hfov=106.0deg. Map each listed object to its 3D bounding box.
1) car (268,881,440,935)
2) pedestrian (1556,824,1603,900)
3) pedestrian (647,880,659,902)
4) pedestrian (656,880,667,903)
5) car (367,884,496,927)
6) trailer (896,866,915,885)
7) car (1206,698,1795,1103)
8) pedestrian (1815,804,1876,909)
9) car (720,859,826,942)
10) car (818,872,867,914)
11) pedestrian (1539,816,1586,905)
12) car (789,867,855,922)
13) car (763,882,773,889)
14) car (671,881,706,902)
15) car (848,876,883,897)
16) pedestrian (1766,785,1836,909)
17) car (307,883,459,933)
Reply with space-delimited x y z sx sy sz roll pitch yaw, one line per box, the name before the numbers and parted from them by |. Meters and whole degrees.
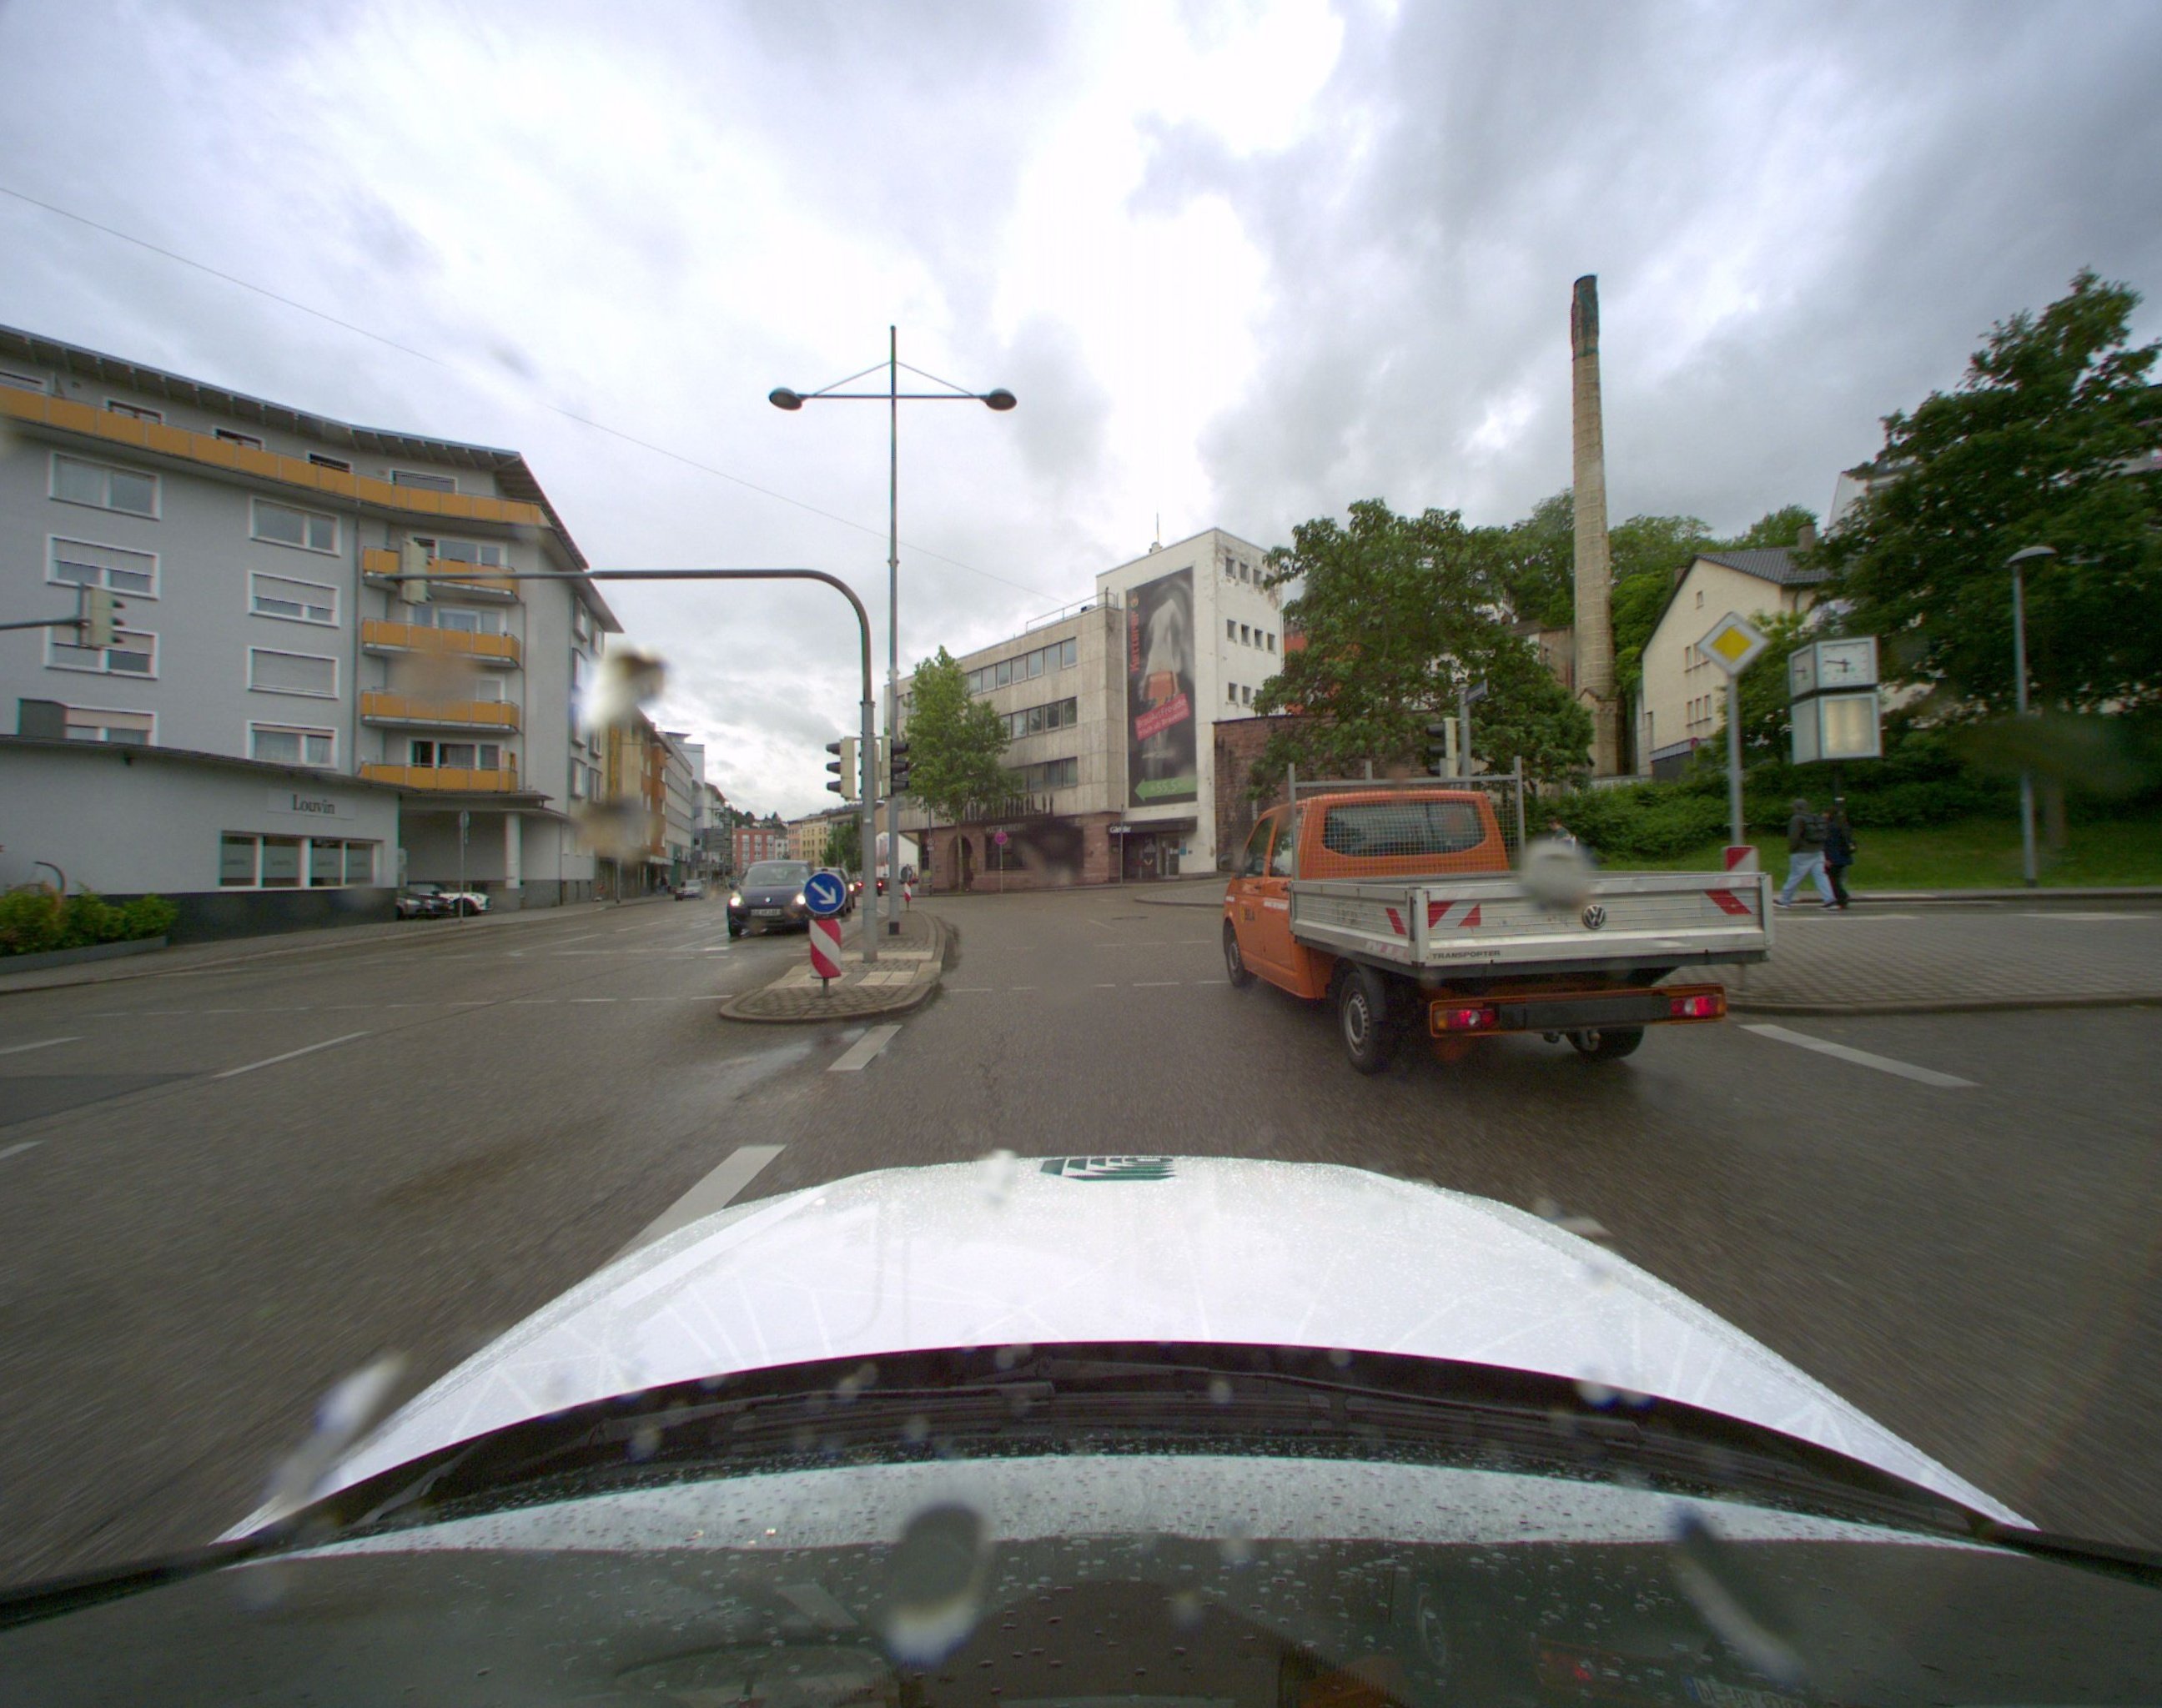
car | -24.134 1.775 27.216 3.826 1.421 1.785 -4 -2 -21
pedestrian | 10.847 0.173 17.730 0.697 1.599 0.606 -5 0 38
pedestrian | -34.788 3.005 66.209 0.632 1.676 0.901 4 -4 -21
pedestrian | -34.169 3.071 66.353 0.577 1.789 0.821 4 -4 -20
car | -25.362 1.988 31.936 3.638 1.338 1.484 -3 -1 -23
trailer | -26.869 3.241 124.393 2.133 2.716 5.357 -3 -1 -18
car | 2.622 0.309 7.022 2.096 2.089 5.537 0 -2 -2
pedestrian | 12.860 0.039 13.700 0.559 1.706 0.524 -3 0 -26
car | -6.950 0.970 18.787 1.758 1.614 4.190 -2 0 -14
car | -9.096 1.434 30.868 1.648 1.453 3.964 -1 -1 -18
pedestrian | 10.203 0.132 17.237 0.685 1.830 0.748 -4 0 36
car | -7.708 1.156 24.495 1.558 1.398 3.710 -3 0 -14
car | -67.546 6.799 175.712 1.714 1.468 4.796 -3 -1 -20
car | -27.399 2.651 56.950 1.734 1.366 4.083 -1 -3 -19
car | -15.569 2.315 58.662 1.798 1.403 4.596 -1 -2 -24
pedestrian | 12.137 -0.114 13.726 0.777 2.013 0.592 -3 0 44
car | -25.085 1.907 29.427 3.770 1.421 1.627 -4 -1 -21
